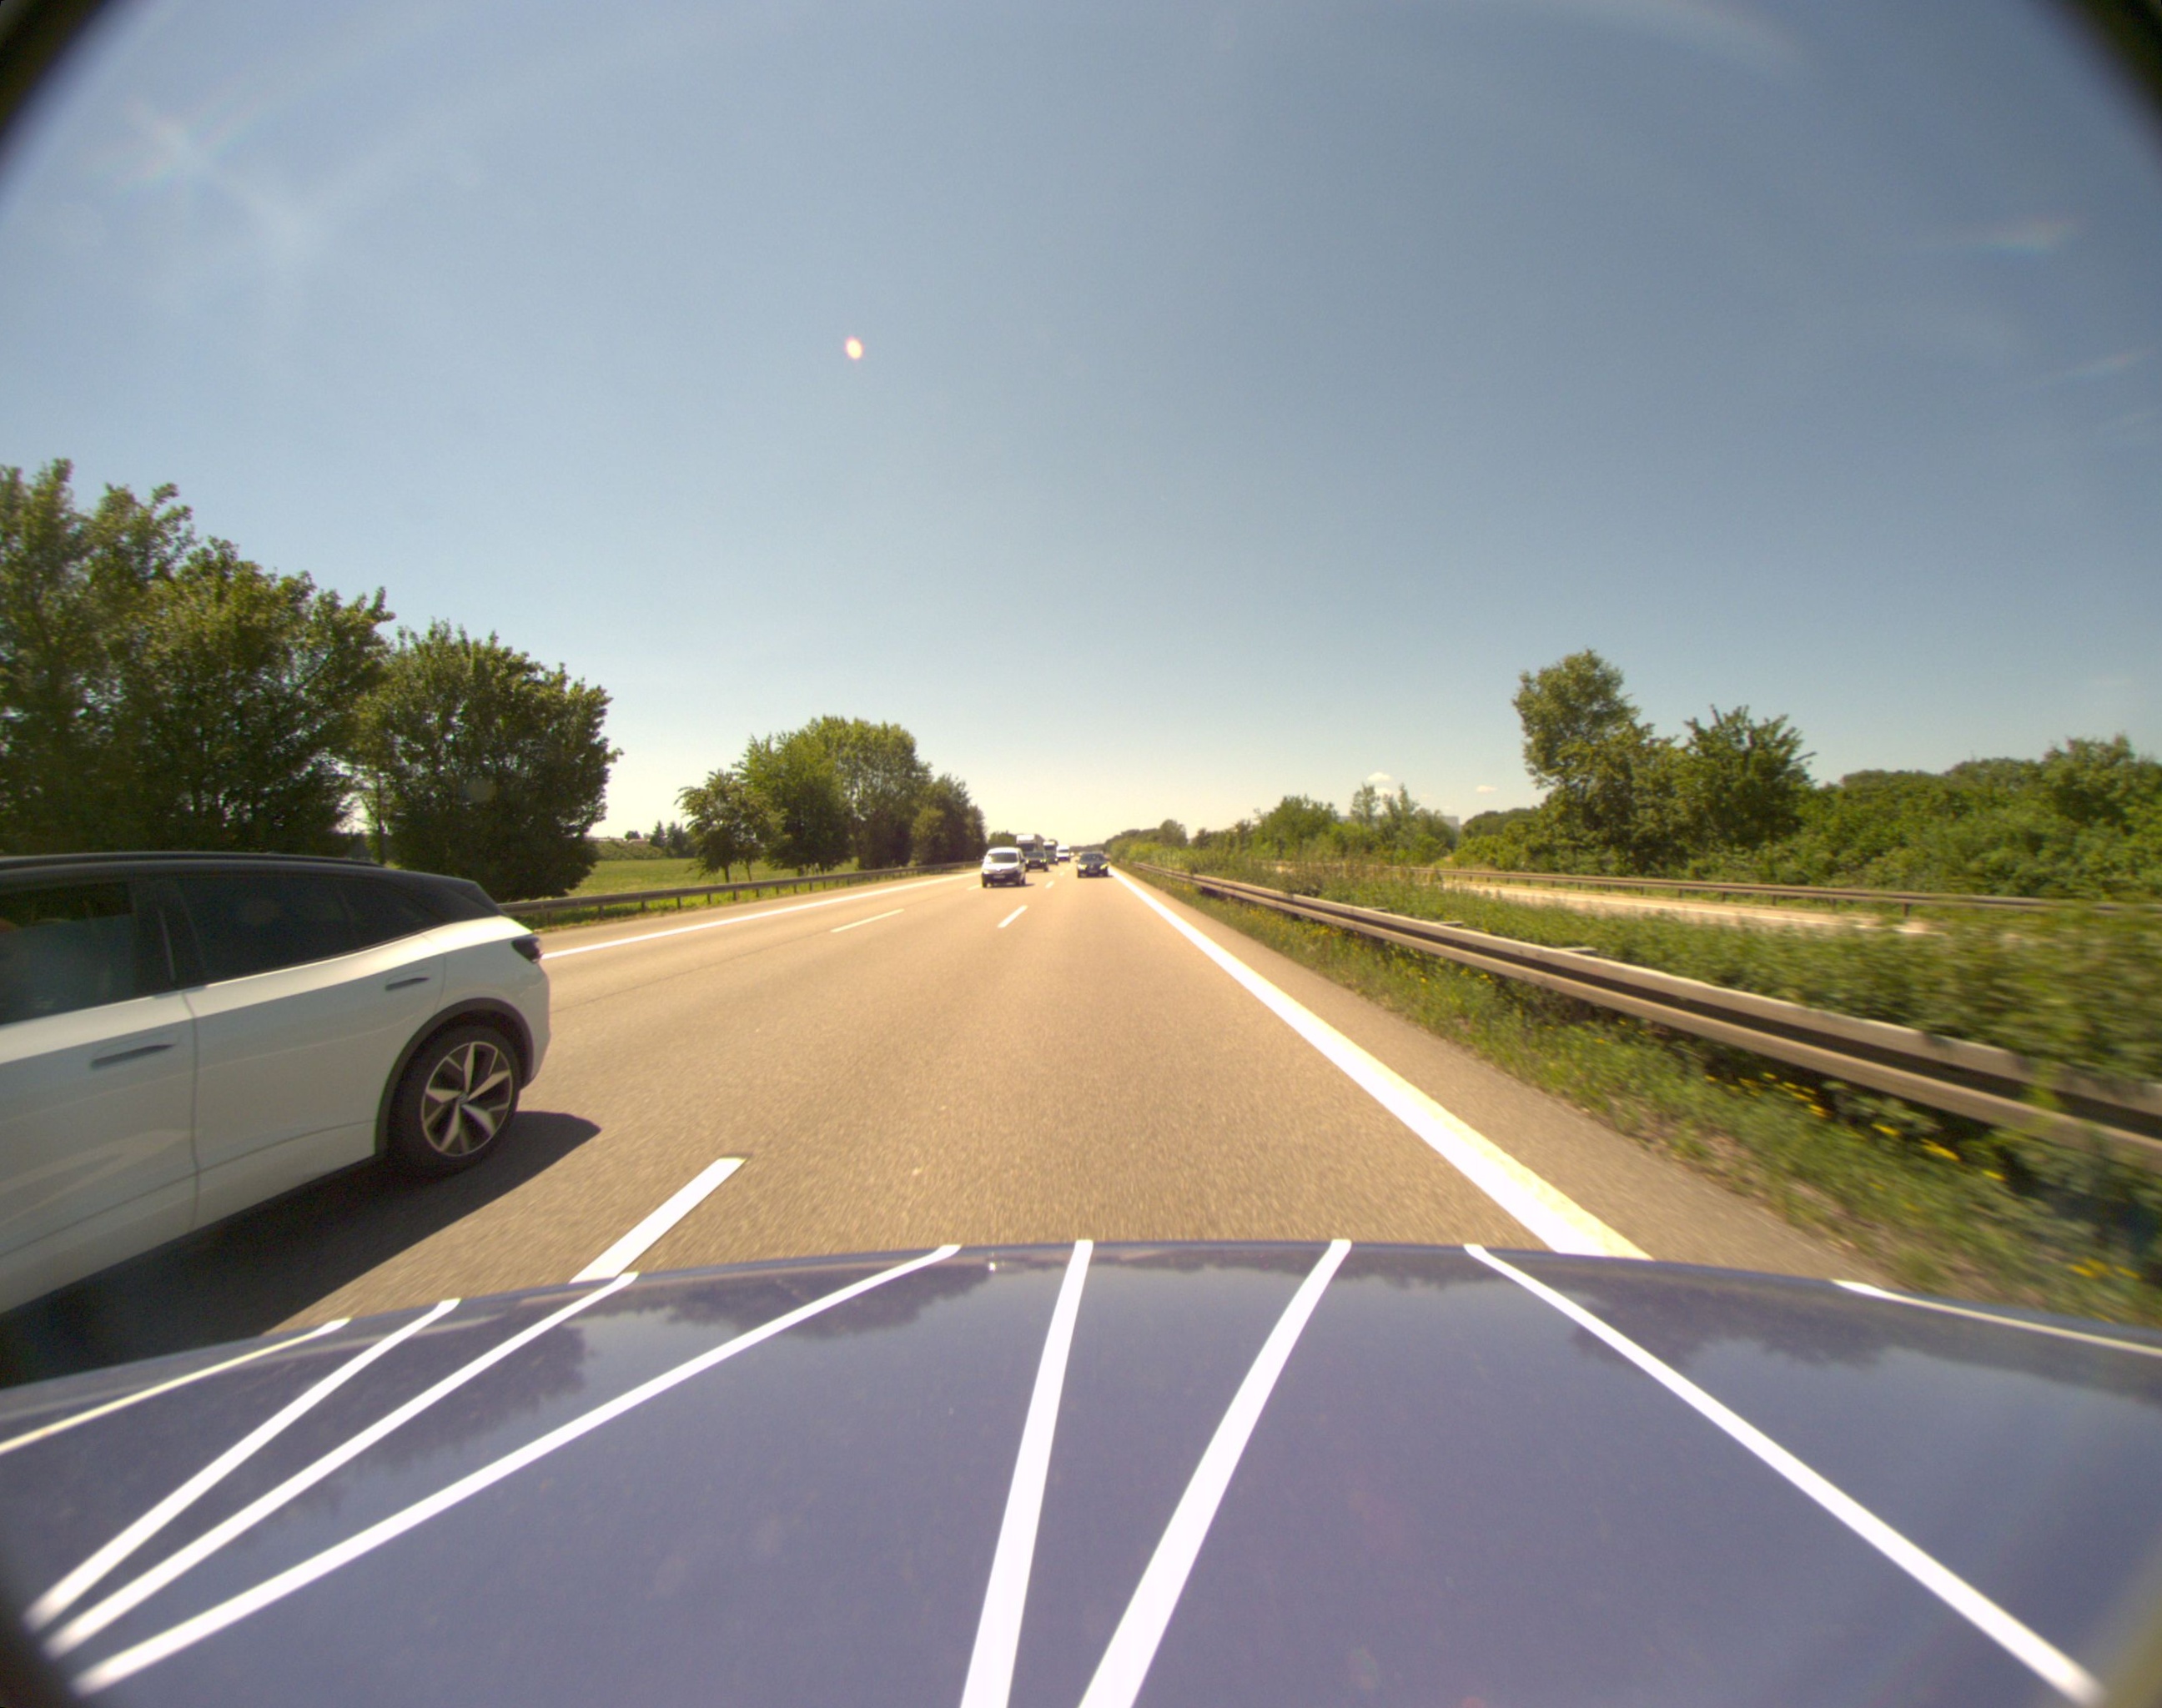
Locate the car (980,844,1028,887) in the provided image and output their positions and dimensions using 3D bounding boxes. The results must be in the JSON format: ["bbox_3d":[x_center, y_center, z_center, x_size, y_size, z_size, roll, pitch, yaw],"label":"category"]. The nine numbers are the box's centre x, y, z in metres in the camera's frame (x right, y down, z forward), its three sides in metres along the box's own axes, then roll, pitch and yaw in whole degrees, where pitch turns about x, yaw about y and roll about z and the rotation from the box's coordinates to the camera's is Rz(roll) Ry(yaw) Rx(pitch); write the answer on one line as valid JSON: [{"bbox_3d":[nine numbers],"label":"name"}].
[{"bbox_3d":[-3.614,0.523,36.426,1.858,1.852,4.701,-2,0,-1],"label":"car"}]

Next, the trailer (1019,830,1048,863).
[{"bbox_3d":[-6.589,-1.022,107.670,2.817,4.279,14.253,-2,0,1],"label":"trailer"}]

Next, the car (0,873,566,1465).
[{"bbox_3d":[-3.964,0.952,2.235,1.807,1.593,4.380,-2,0,1],"label":"car"}]

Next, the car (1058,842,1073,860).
[{"bbox_3d":[-2.309,-0.419,114.668,2.159,2.494,5.945,-2,0,-1],"label":"car"}]

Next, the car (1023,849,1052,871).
[{"bbox_3d":[-3.555,0.468,62.250,1.871,1.665,4.746,-2,0,2],"label":"car"}]

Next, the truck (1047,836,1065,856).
[{"bbox_3d":[-5.240,-1.686,163.550,2.698,3.943,7.706,-2,0,6],"label":"truck"}]

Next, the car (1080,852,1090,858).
[{"bbox_3d":[0.781,0.211,161.026,1.755,1.365,3.710,-2,0,6],"label":"car"}]

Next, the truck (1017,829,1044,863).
[{"bbox_3d":[-6.656,-0.995,101.592,2.817,4.279,7.193,-2,0,1],"label":"truck"}]

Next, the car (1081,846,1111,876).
[{"bbox_3d":[0.900,0.414,45.411,1.690,1.646,3.462,-2,0,1],"label":"car"}]

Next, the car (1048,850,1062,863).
[{"bbox_3d":[-3.053,0.290,89.729,1.692,1.465,3.432,-2,0,-1],"label":"car"}]
